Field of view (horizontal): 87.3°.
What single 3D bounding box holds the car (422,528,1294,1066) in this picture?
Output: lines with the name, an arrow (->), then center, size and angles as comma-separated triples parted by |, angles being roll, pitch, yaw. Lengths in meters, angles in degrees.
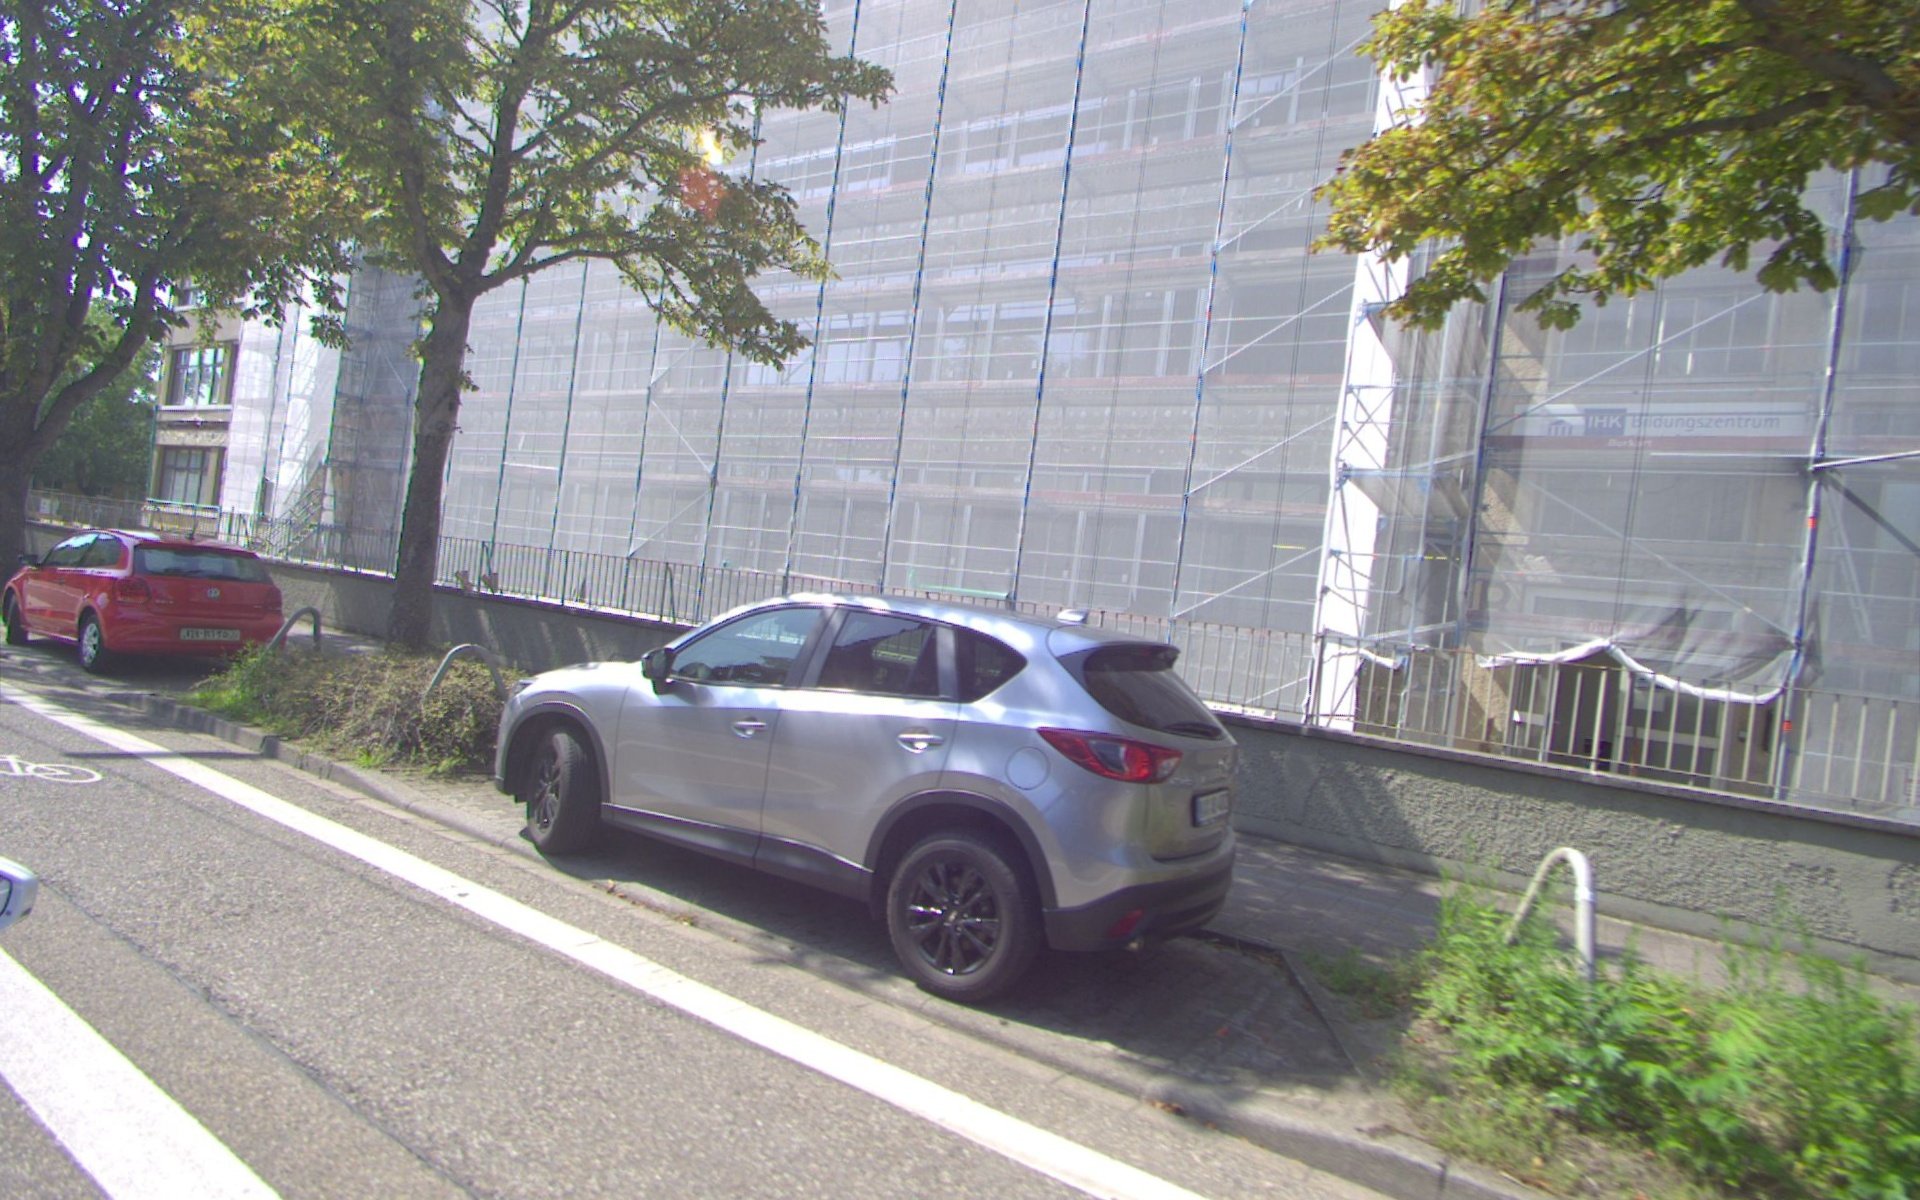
car -> -0.760, 0.713, 5.627 | 4.572, 1.708, 1.765 | 7, -1, 32

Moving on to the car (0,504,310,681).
car -> -9.350, -0.129, 11.375 | 4.064, 1.518, 1.688 | 6, -2, 32
